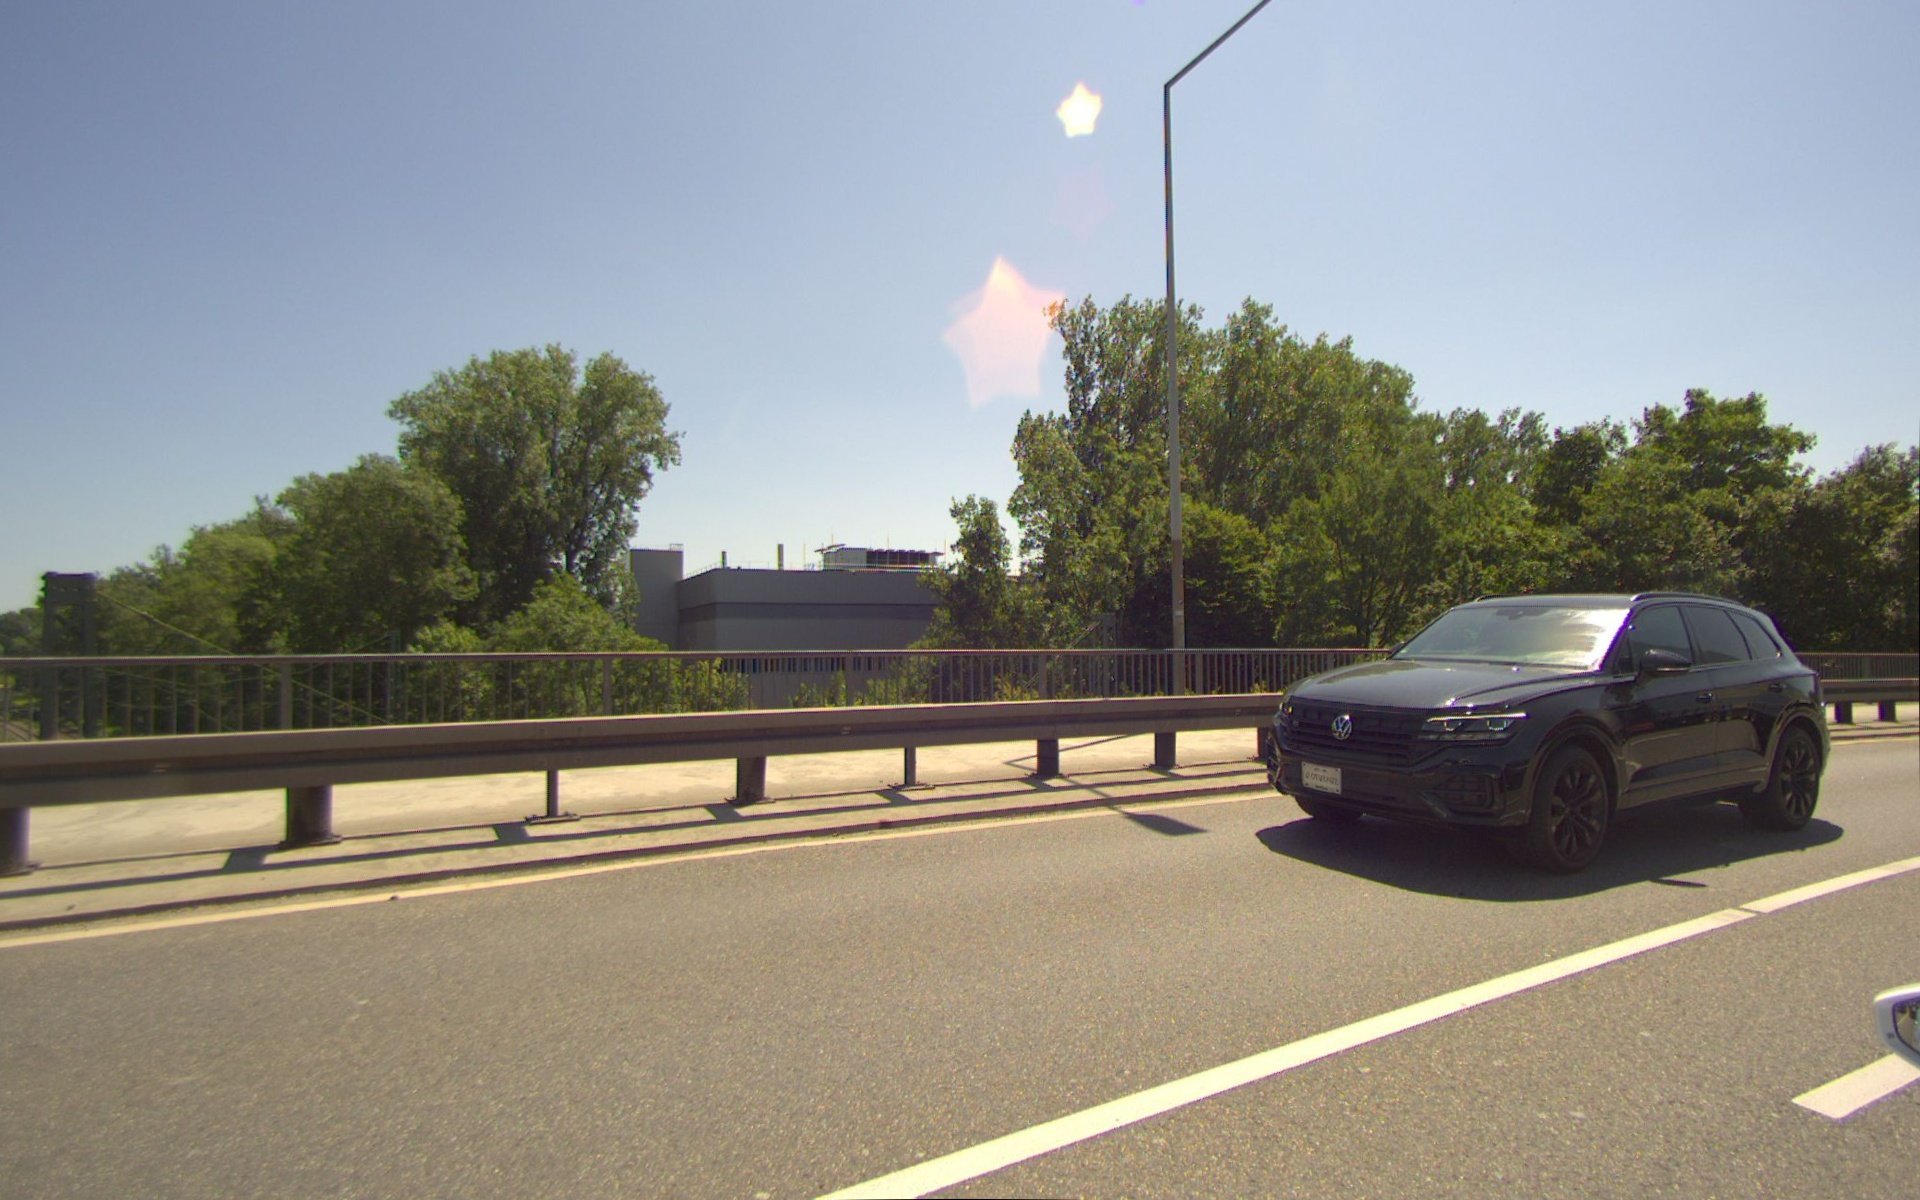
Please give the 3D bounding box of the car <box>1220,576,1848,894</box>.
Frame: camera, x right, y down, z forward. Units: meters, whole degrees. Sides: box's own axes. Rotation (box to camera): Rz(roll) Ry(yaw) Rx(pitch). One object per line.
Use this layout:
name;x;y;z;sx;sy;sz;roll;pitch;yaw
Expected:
car;4.285;0.785;7.354;4.558;1.695;1.957;1;-1;-29
